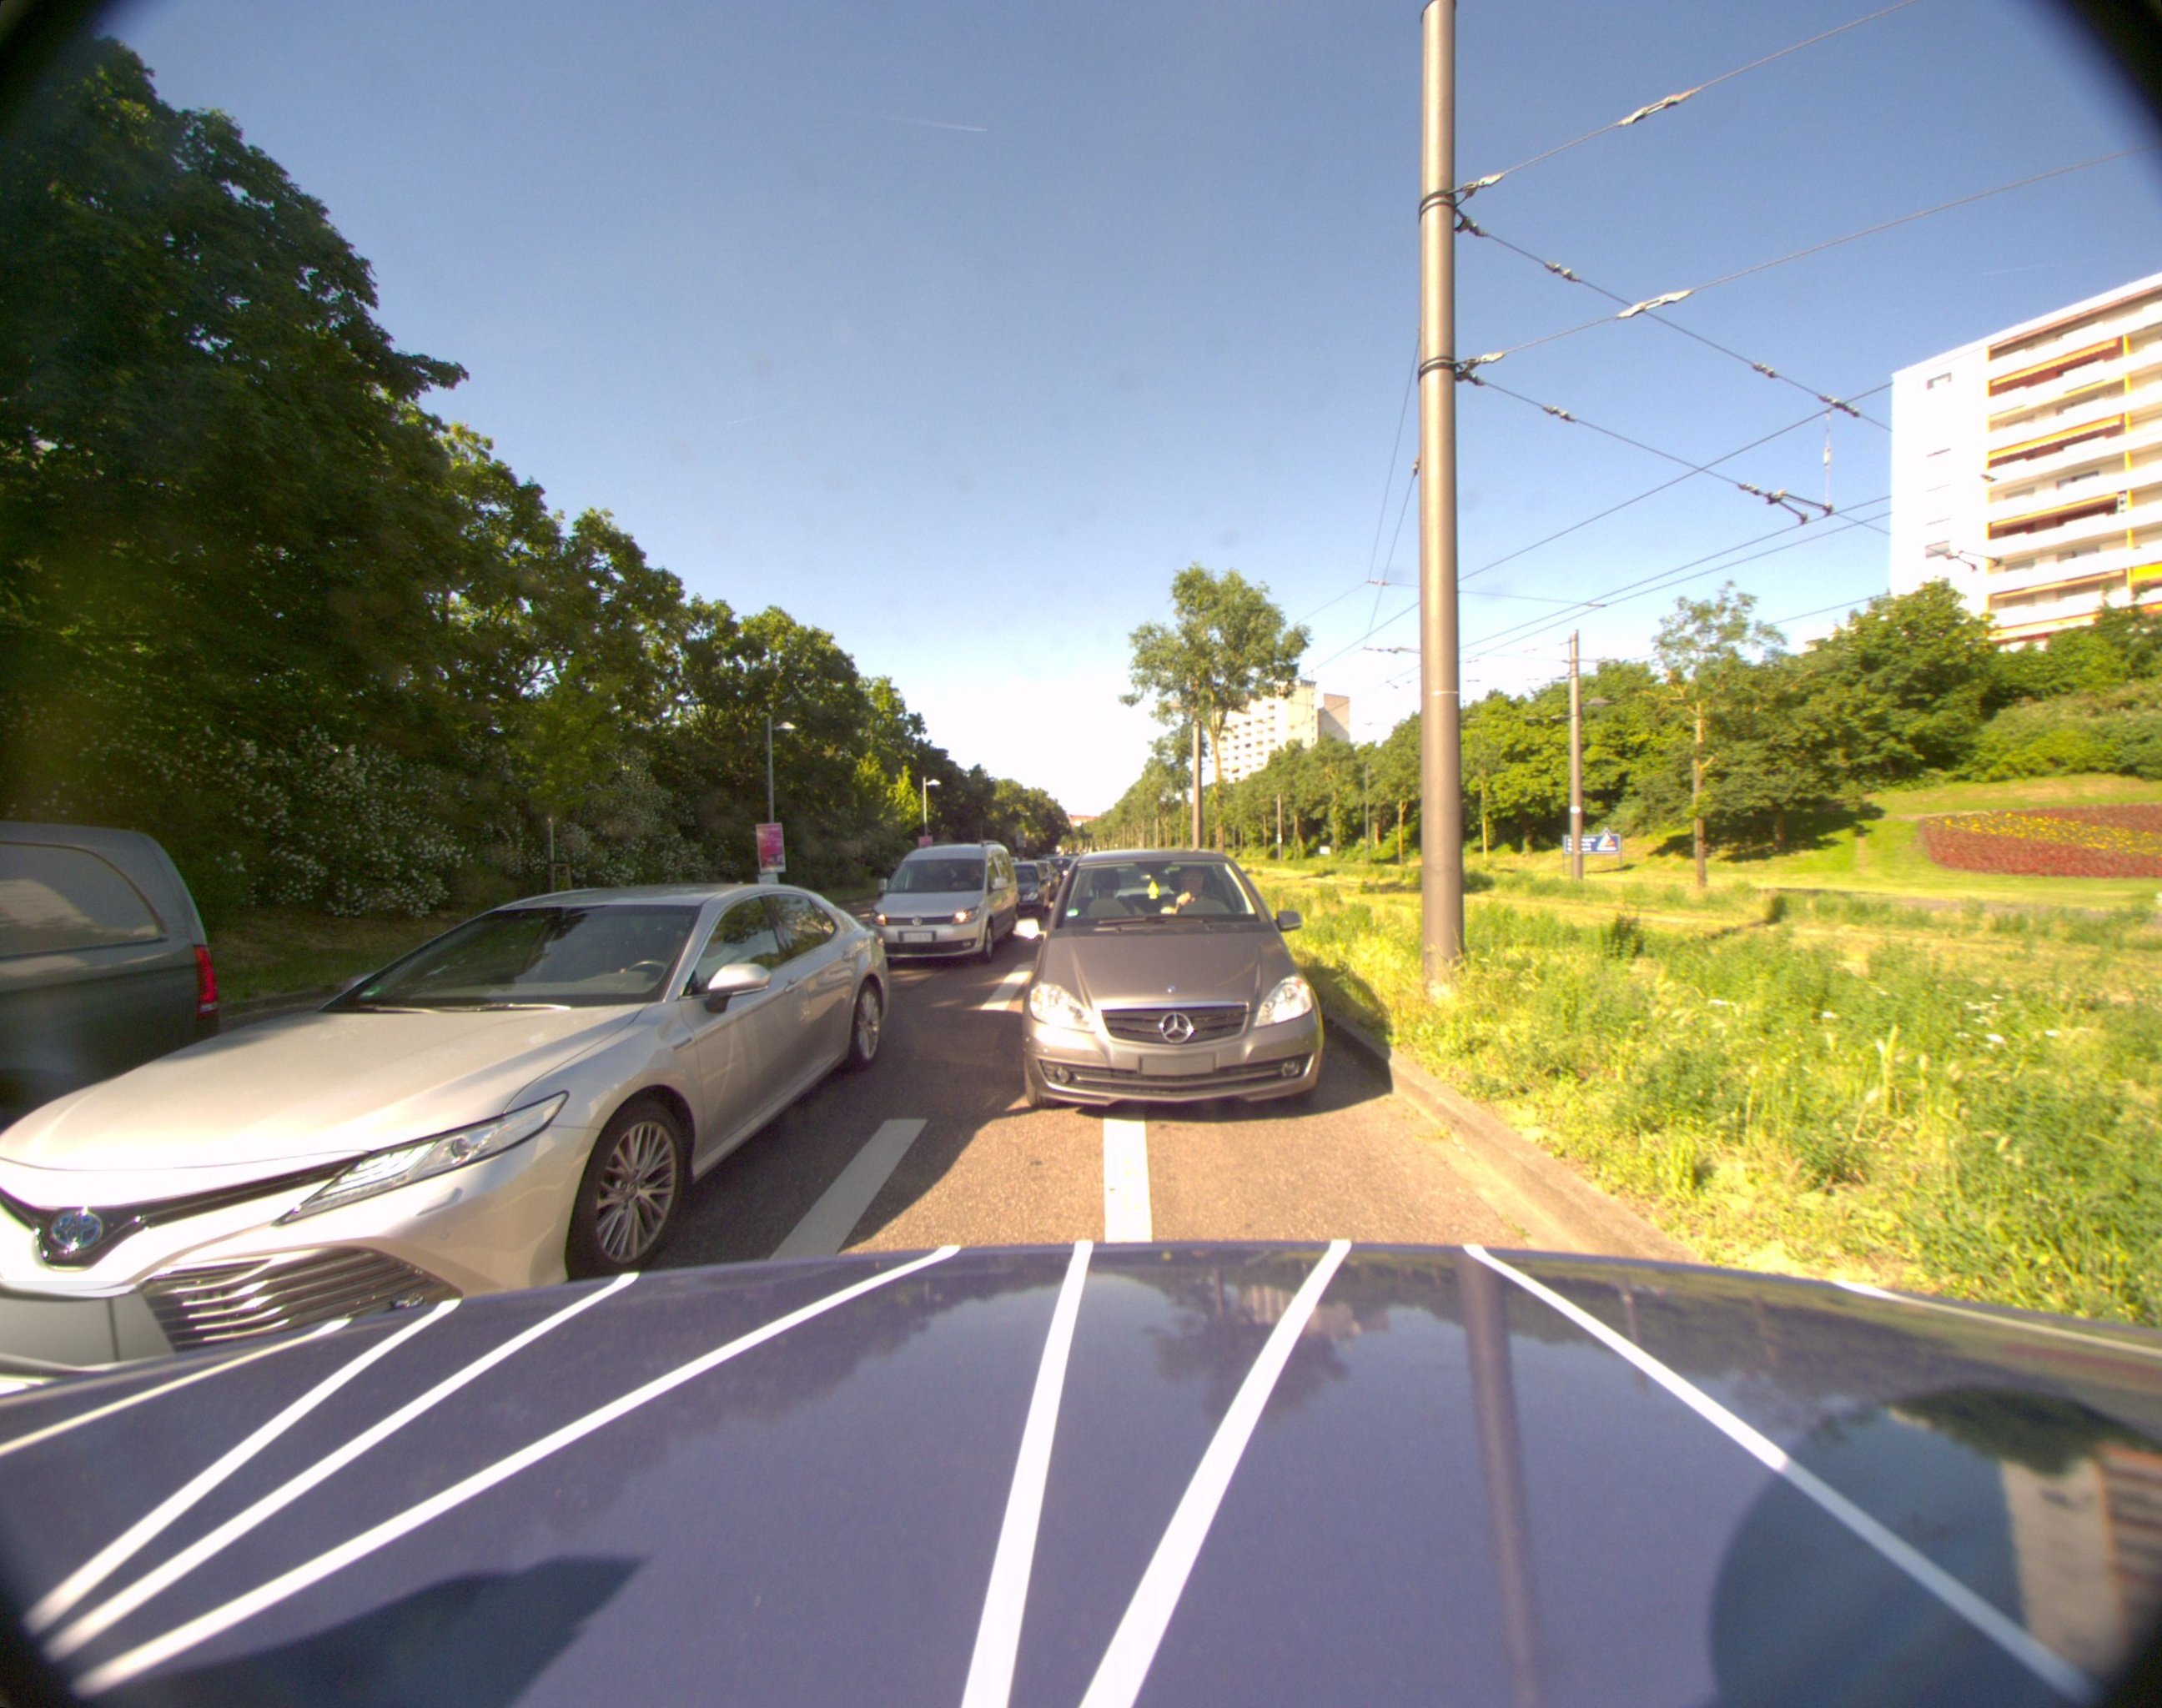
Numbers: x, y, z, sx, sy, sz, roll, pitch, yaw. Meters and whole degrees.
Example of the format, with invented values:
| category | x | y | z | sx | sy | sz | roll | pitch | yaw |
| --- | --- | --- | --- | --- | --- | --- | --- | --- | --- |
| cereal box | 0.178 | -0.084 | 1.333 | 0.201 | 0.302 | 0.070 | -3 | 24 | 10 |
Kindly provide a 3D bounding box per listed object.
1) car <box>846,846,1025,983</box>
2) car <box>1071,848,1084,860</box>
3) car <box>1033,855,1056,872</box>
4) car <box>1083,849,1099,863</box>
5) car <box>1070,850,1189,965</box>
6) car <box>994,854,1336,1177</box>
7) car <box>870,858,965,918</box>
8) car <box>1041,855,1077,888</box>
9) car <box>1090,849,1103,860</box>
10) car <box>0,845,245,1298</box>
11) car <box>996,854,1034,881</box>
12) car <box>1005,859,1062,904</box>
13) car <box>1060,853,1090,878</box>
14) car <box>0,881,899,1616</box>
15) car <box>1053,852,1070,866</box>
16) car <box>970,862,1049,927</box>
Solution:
| category | x | y | z | sx | sy | sz | roll | pitch | yaw |
| --- | --- | --- | --- | --- | --- | --- | --- | --- | --- |
| car | -2.156 | 0.808 | 12.625 | 1.808 | 1.811 | 4.587 | -2 | 1 | 3 |
| car | -0.465 | -0.014 | 117.187 | 1.844 | 1.679 | 3.999 | -2 | 1 | 1 |
| car | -3.237 | 0.790 | 67.655 | 1.713 | 1.430 | 4.171 | -1 | 0 | 1 |
| car | 1.133 | 0.197 | 85.574 | 1.685 | 1.437 | 3.727 | -2 | 1 | 2 |
| car | 0.765 | 0.806 | 13.566 | 1.749 | 1.652 | 3.999 | -2 | 1 | 1 |
| car | 0.473 | 0.860 | 6.015 | 1.749 | 1.630 | 4.000 | -2 | 0 | 1 |
| car | -4.797 | 0.946 | 22.892 | 1.772 | 1.499 | 4.225 | -2 | 1 | 2 |
| car | -1.038 | 0.819 | 37.838 | 1.621 | 1.485 | 3.452 | -2 | 1 | 0 |
| car | 2.104 | 0.022 | 104.174 | 1.685 | 1.437 | 3.727 | -2 | 1 | 2 |
| car | -5.377 | 0.897 | 1.428 | 1.808 | 1.841 | 5.103 | 0 | 0 | 3 |
| car | -3.781 | 0.755 | 43.913 | 1.713 | 1.430 | 4.171 | -2 | 0 | 1 |
| car | -1.634 | 0.944 | 27.353 | 1.723 | 1.411 | 4.050 | -1 | 0 | 1 |
| car | -0.345 | 0.673 | 48.177 | 1.713 | 1.430 | 4.171 | -2 | 0 | 1 |
| car | -2.544 | 1.010 | 4.083 | 1.809 | 1.484 | 4.682 | -2 | 0 | 2 |
| car | -2.197 | 0.533 | 87.264 | 1.749 | 1.427 | 4.386 | -2 | 1 | 2 |
| car | -1.744 | 0.970 | 19.766 | 1.717 | 1.445 | 4.197 | -1 | 0 | -1 |
